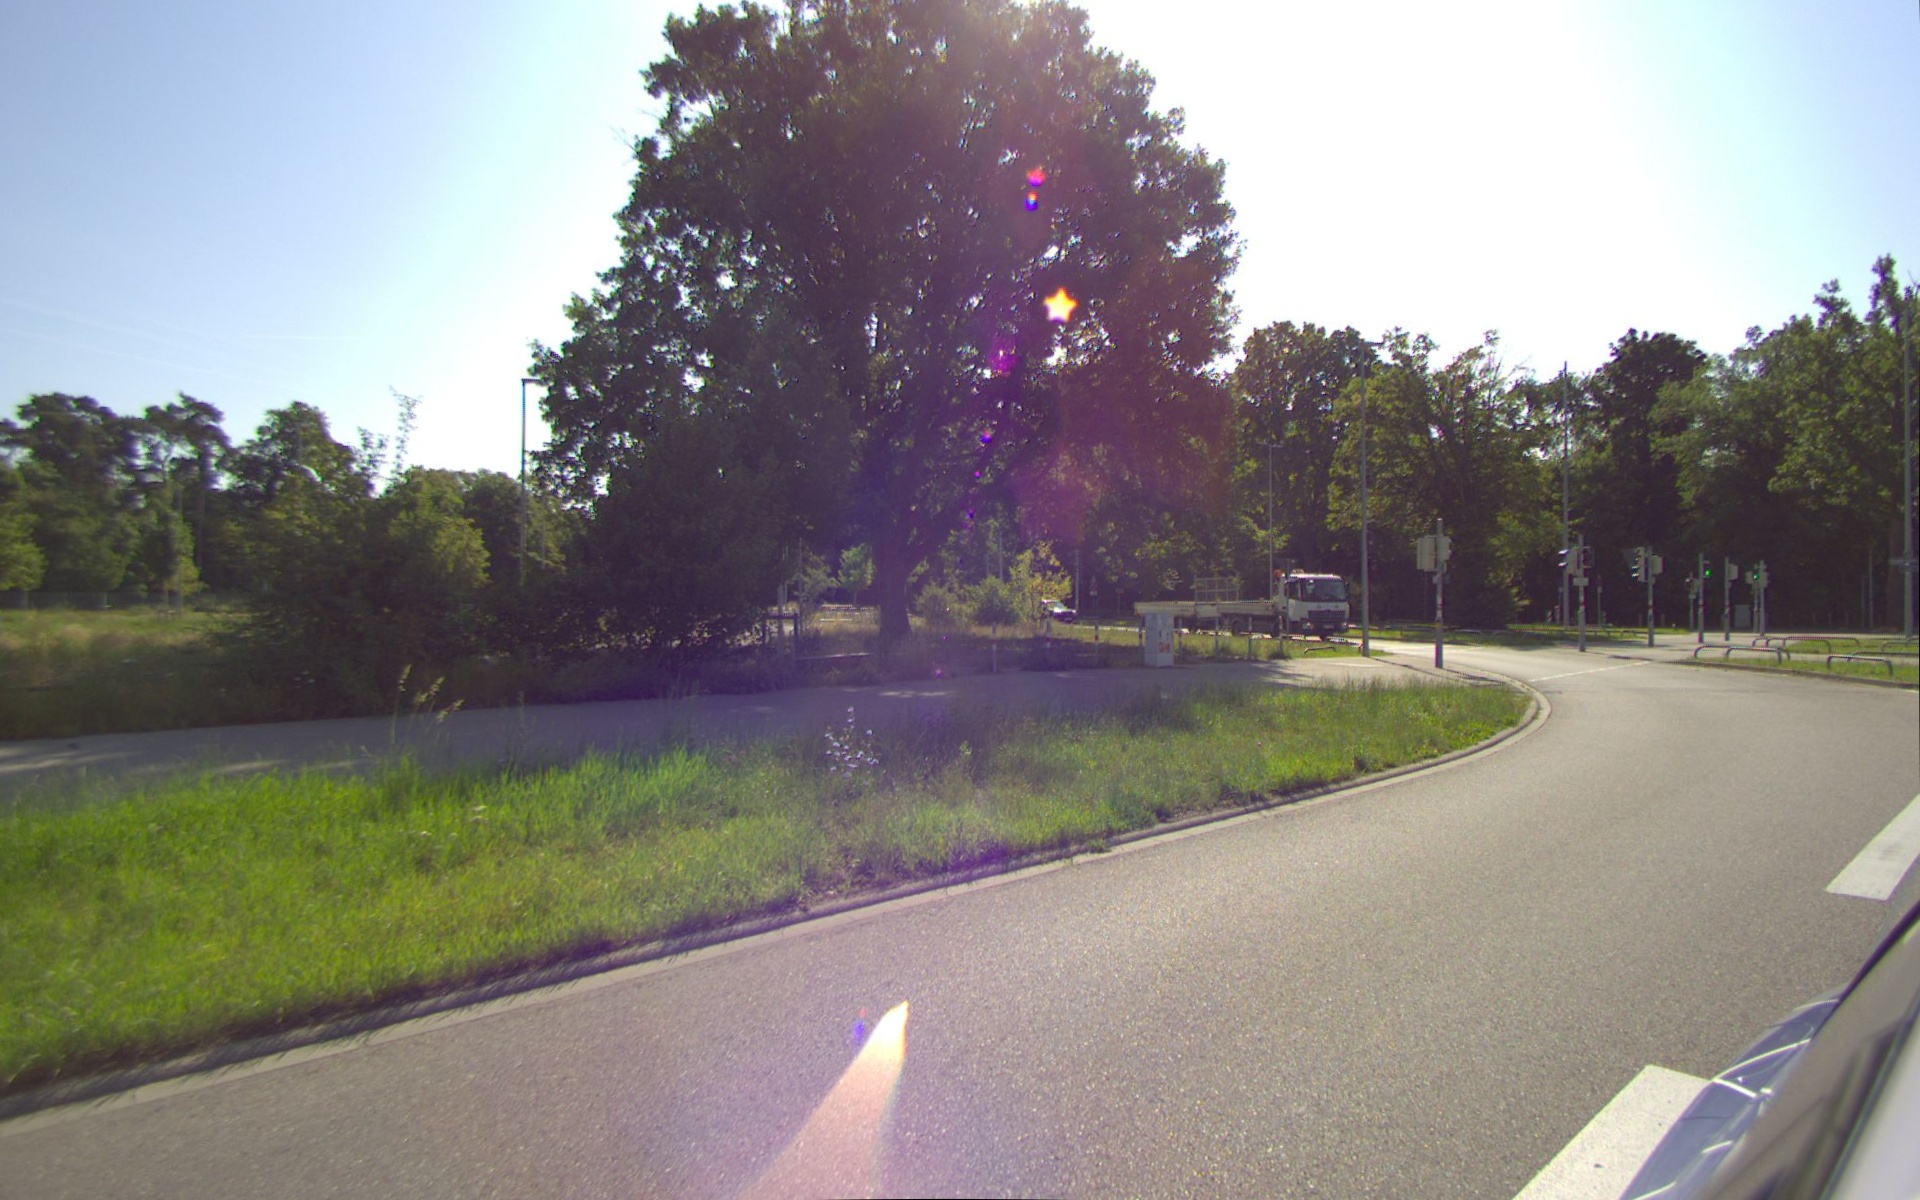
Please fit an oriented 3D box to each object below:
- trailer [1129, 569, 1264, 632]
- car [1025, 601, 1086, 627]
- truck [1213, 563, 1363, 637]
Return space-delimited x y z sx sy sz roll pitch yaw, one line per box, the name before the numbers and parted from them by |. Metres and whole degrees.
trailer | 10.883 0.046 47.327 2.647 2.722 6.901 0 0 -22
car | 5.570 0.795 59.427 1.808 1.502 4.007 0 0 -24
truck | 13.181 0.006 41.217 2.624 2.752 6.215 0 0 -18
